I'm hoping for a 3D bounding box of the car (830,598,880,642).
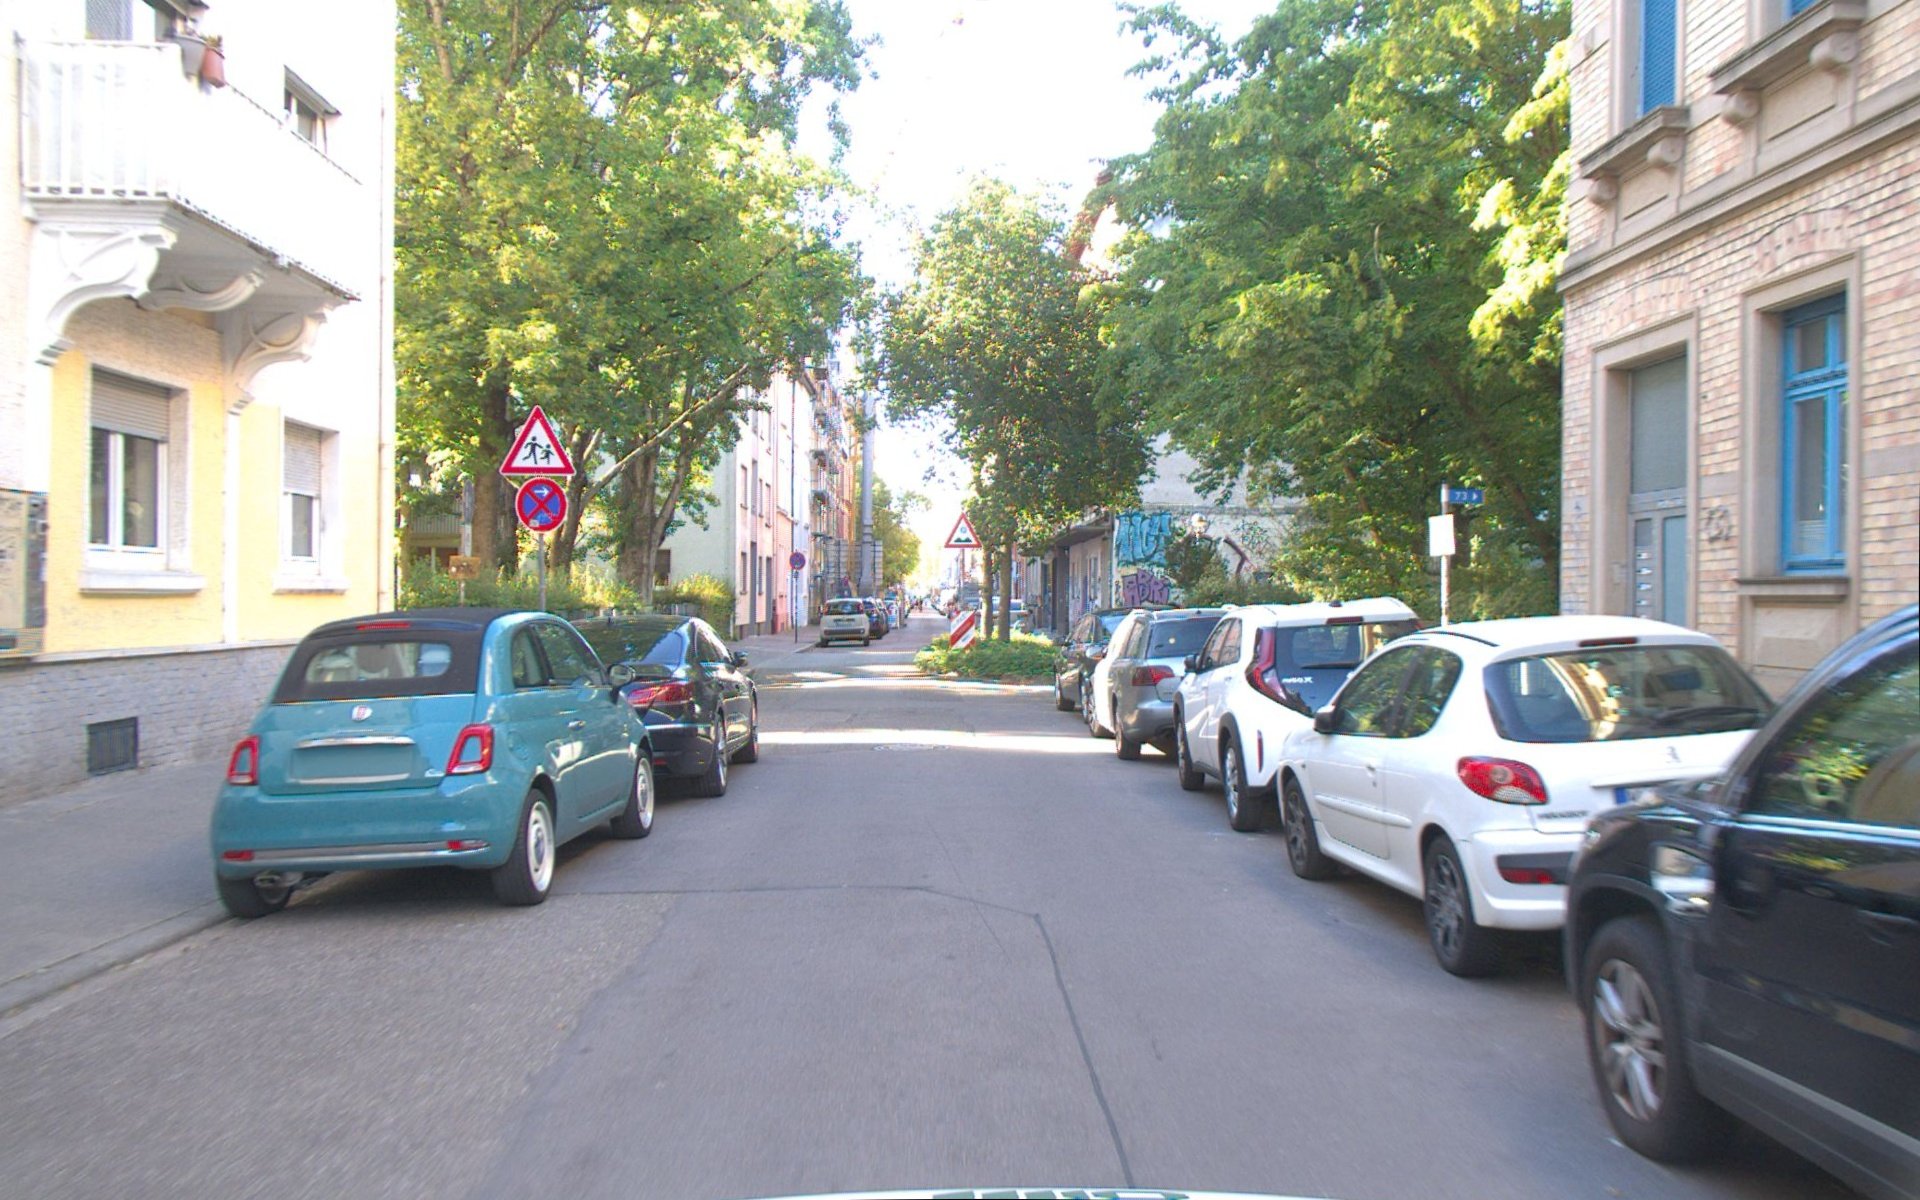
[{"bbox_3d":[-3.806,0.692,60.282,1.642,1.513,4.093,-1,0,-2],"label":"car"}]

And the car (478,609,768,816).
[{"bbox_3d":[-2.618,0.803,13.727,1.636,1.385,4.048,-1,0,-1],"label":"car"}]

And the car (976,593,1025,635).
[{"bbox_3d":[1.524,0.519,62.871,1.642,1.513,3.636,-1,0,-2],"label":"car"}]

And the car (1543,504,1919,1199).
[{"bbox_3d":[2.746,0.645,3.349,1.641,1.711,4.094,-1,-1,0],"label":"car"}]

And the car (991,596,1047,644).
[{"bbox_3d":[1.990,0.654,56.471,1.642,1.513,3.636,-1,0,-2],"label":"car"}]

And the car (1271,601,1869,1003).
[{"bbox_3d":[2.728,0.785,8.269,1.535,1.509,3.618,-1,0,-2],"label":"car"}]

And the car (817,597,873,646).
[{"bbox_3d":[-3.778,0.675,54.861,1.642,1.513,4.093,-1,0,-2],"label":"car"}]

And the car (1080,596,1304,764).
[{"bbox_3d":[2.317,0.737,17.467,1.642,1.513,4.093,-1,0,-2],"label":"car"}]

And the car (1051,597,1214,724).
[{"bbox_3d":[2.246,0.746,22.468,1.642,1.513,4.093,-1,0,-2],"label":"car"}]

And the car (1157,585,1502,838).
[{"bbox_3d":[2.613,0.710,12.570,1.642,1.588,3.795,-1,0,-2],"label":"car"}]

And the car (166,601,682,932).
[{"bbox_3d":[-2.839,0.785,9.676,1.635,1.495,3.821,-1,0,2],"label":"car"}]
